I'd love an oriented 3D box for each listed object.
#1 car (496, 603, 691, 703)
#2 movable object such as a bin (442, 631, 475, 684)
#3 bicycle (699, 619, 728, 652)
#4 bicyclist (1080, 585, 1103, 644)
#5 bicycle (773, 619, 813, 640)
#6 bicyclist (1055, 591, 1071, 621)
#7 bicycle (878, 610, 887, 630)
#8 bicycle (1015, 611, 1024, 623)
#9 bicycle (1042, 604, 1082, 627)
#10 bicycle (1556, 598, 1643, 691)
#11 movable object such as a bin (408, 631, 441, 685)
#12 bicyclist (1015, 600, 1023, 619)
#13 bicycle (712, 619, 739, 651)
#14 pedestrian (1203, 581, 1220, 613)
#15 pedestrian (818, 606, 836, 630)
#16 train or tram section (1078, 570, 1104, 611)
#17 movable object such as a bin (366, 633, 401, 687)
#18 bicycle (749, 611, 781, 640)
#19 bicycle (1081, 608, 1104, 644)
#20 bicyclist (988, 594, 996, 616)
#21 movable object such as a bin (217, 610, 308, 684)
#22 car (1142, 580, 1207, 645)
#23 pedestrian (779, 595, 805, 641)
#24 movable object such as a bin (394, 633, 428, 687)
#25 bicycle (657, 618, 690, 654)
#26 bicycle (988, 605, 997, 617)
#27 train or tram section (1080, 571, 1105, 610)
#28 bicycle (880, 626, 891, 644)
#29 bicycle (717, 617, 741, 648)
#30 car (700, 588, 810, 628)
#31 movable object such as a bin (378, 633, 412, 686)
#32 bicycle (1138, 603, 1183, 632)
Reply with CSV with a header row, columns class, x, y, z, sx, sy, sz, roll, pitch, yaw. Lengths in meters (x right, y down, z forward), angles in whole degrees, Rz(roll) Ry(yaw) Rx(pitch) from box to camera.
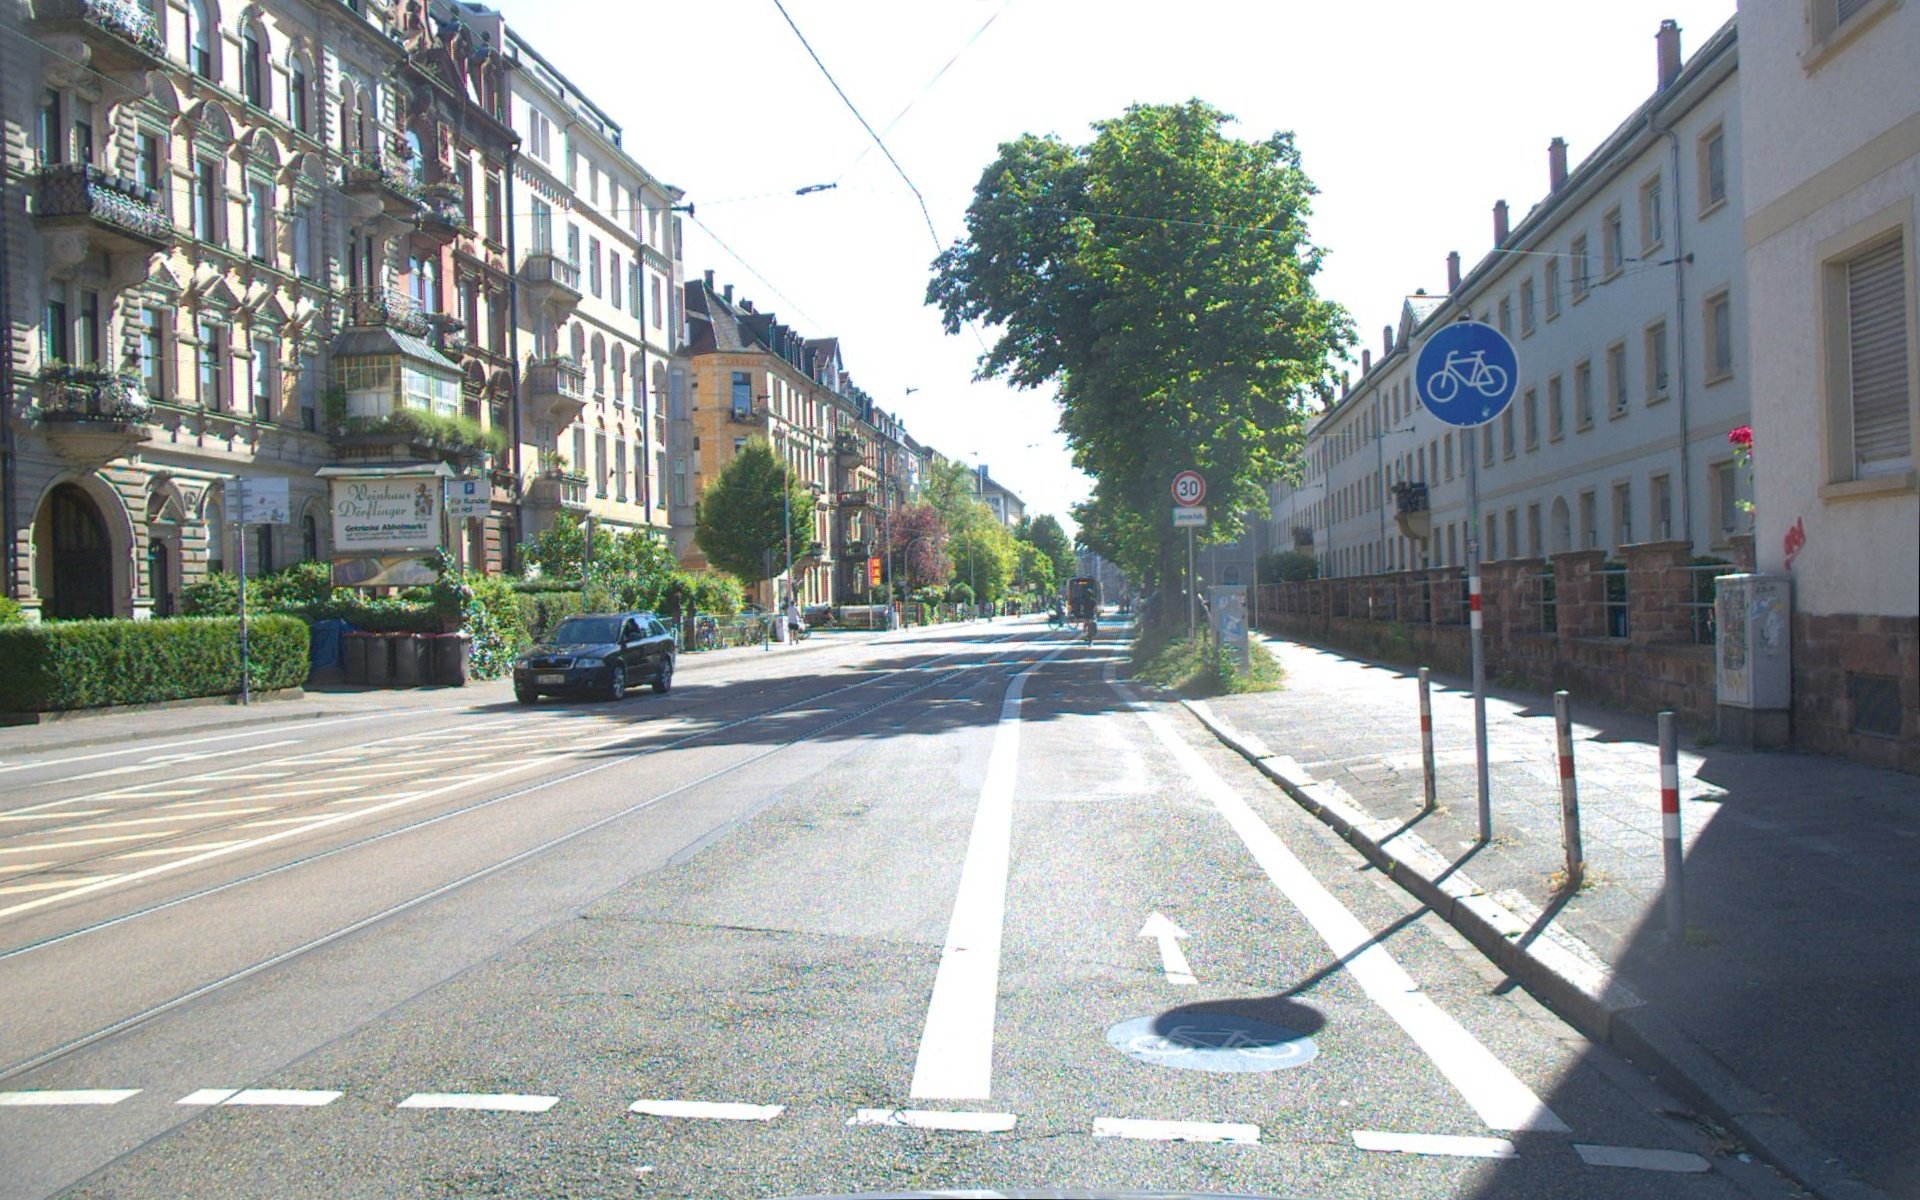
class,x,y,z,sx,sy,sz,roll,pitch,yaw
car,-6.245,0.846,28.826,1.793,1.545,4.970,0,0,6
movable object such as a bin,-10.591,1.211,34.929,0.469,1.105,0.541,-1,0,7
bicycle,-8.416,1.202,56.517,0.551,1.051,1.769,0,0,5
bicyclist,4.213,0.454,52.849,0.712,1.880,0.837,-1,0,5
bicycle,-7.802,1.399,77.377,1.764,0.930,0.615,-1,-2,-30
bicyclist,5.177,0.296,83.112,0.603,1.494,0.635,-1,0,-13
bicycle,-4.568,1.161,97.355,0.363,1.146,0.809,-1,0,6
bicycle,5.724,1.617,159.495,0.677,1.132,1.720,-3,0,6
bicycle,5.121,0.755,83.090,1.878,1.132,0.691,-1,0,-14
bicycle,7.990,0.531,20.729,0.449,1.112,1.673,-1,0,1
movable object such as a bin,-11.268,1.218,34.831,0.469,1.105,0.541,-1,0,7
bicyclist,5.683,0.905,159.439,0.646,1.833,0.616,-4,-1,6
bicycle,-8.265,1.226,58.316,0.551,1.051,1.769,0,0,5
pedestrian,13.767,-0.162,90.588,0.750,1.754,0.578,-1,0,35
pedestrian,-7.913,1.066,98.208,0.882,1.376,0.577,-4,-1,7
train or tram section,11.502,-0.831,144.490,2.108,3.492,6.615,-1,0,6
movable object such as a bin,-11.934,1.236,34.242,0.469,1.105,0.541,-1,0,7
bicycle,-7.499,0.964,63.597,0.557,1.051,1.750,-1,1,-30
bicycle,4.227,0.823,52.880,0.677,1.132,1.720,-1,0,6
bicyclist,2.496,0.380,129.792,0.454,1.646,0.745,-4,0,6
movable object such as a bin,-14.253,0.943,33.829,1.291,1.472,1.171,-1,0,7
car,6.217,0.333,48.272,1.707,1.797,4.481,-1,0,5
pedestrian,-6.573,0.712,64.846,0.812,1.754,1.083,-1,-1,5
movable object such as a bin,-11.343,1.234,34.198,0.469,1.105,0.541,-1,0,7
bicycle,-9.047,1.136,52.303,0.551,1.051,1.769,0,1,6
bicycle,2.547,0.856,129.923,0.450,0.942,2.204,-3,0,6
train or tram section,12.169,-0.866,151.117,2.108,3.492,6.615,-1,0,6
bicycle,-4.422,2.053,98.292,0.328,1.018,1.871,-1,0,6
bicycle,-8.551,1.197,61.121,0.554,1.051,1.758,2,0,-18
car,-8.897,0.329,71.818,4.351,1.672,1.968,-1,0,9
movable object such as a bin,-11.901,1.251,34.835,0.469,1.105,0.541,-1,0,7
bicycle,7.846,0.692,64.654,1.724,1.096,0.434,-1,0,7
